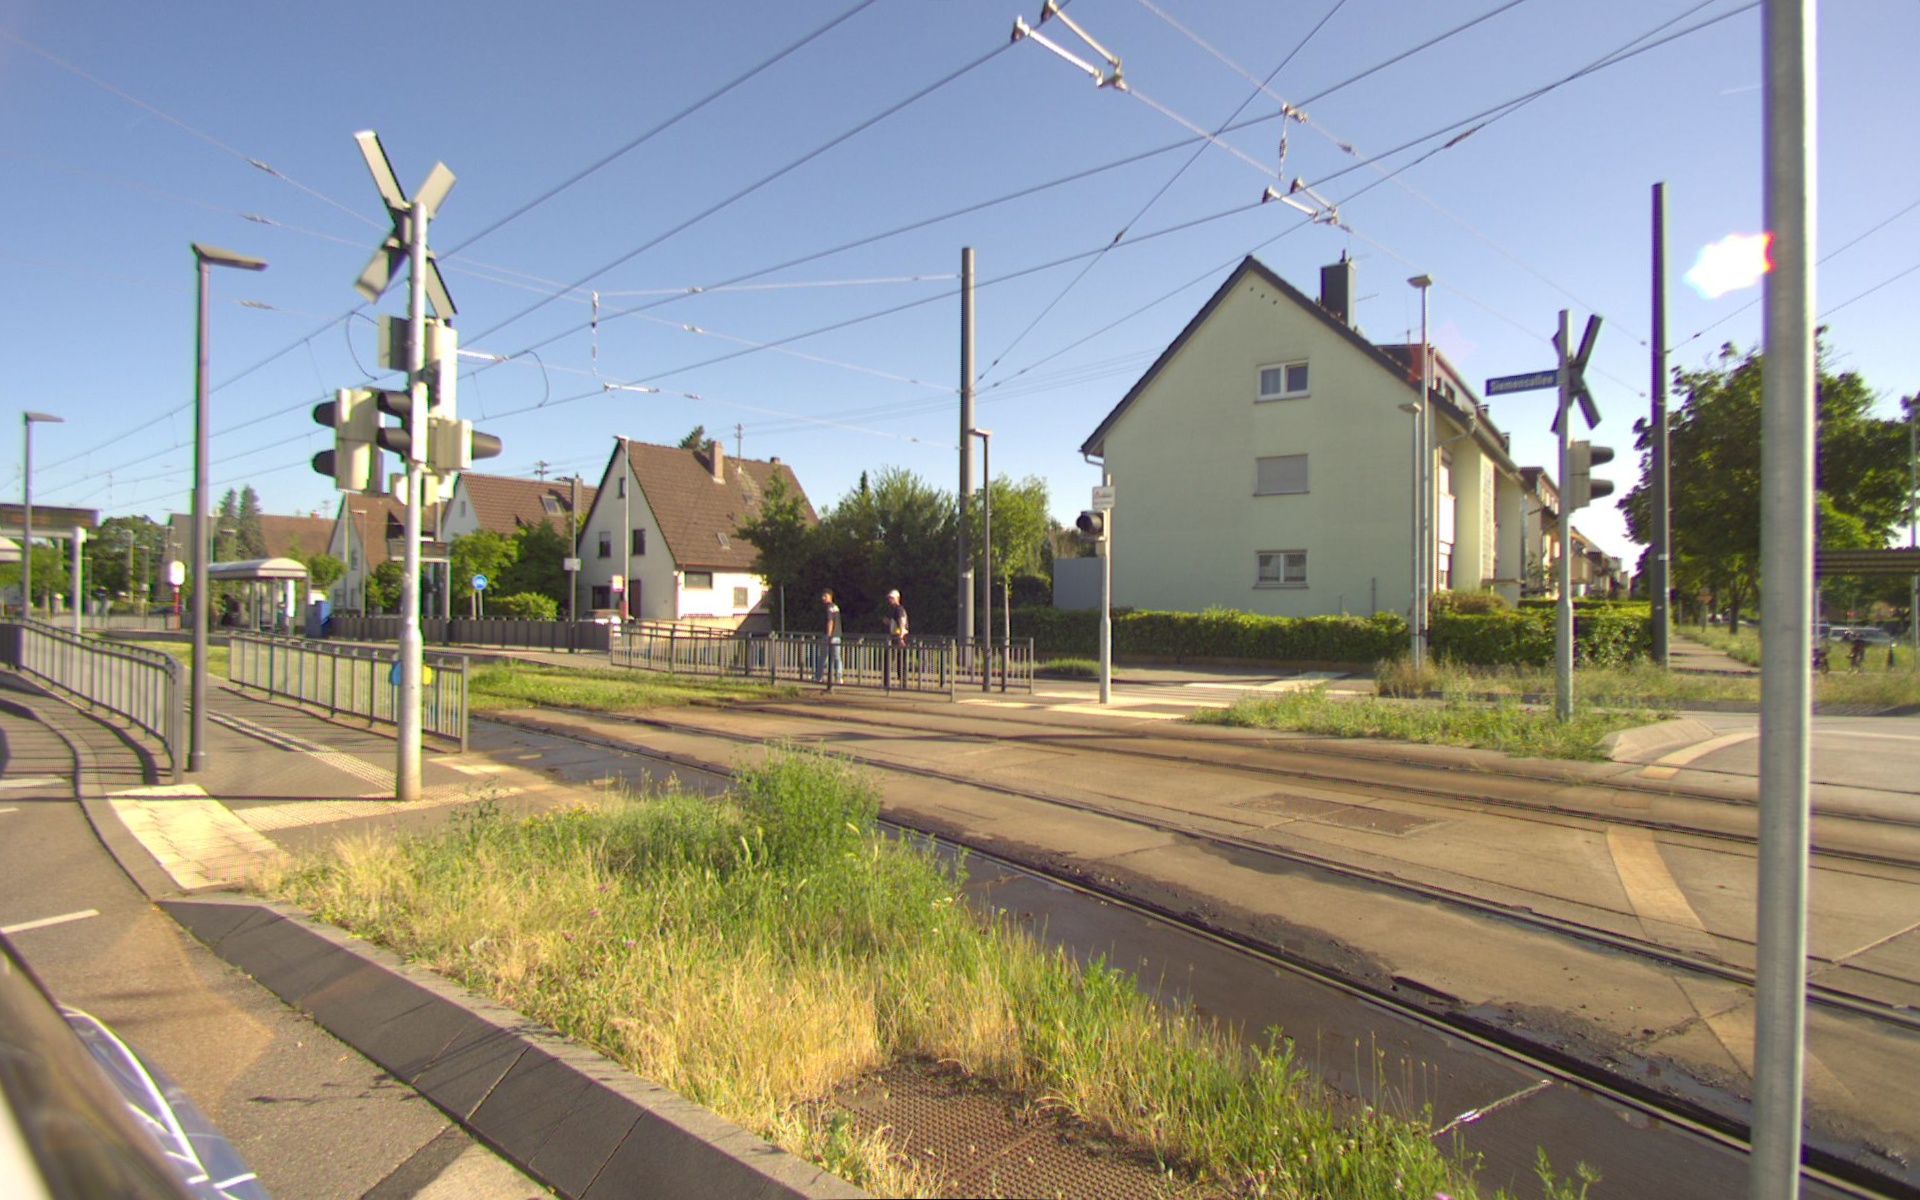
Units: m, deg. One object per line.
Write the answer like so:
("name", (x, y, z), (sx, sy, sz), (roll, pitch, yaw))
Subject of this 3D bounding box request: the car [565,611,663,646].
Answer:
("car", (-16.183, 1.315, 47.489), (1.997, 1.547, 3.941), (-1, -1, 37))

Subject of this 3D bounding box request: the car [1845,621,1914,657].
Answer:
("car", (40.918, 1.711, 45.129), (1.823, 1.403, 3.745), (0, 1, 35))

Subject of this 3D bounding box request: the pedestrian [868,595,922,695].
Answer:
("pedestrian", (-1.129, 0.760, 17.692), (0.721, 1.673, 0.793), (1, 2, 15))

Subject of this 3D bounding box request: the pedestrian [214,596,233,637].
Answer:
("pedestrian", (-32.389, 0.722, 44.509), (0.543, 1.766, 0.528), (-1, -2, 40))

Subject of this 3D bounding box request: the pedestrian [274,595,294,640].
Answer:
("pedestrian", (-26.666, 0.686, 39.942), (0.612, 1.766, 0.443), (1, -1, -30))

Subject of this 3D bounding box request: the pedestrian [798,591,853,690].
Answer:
("pedestrian", (-2.501, 0.734, 18.870), (0.818, 1.783, 0.686), (1, 2, 16))
